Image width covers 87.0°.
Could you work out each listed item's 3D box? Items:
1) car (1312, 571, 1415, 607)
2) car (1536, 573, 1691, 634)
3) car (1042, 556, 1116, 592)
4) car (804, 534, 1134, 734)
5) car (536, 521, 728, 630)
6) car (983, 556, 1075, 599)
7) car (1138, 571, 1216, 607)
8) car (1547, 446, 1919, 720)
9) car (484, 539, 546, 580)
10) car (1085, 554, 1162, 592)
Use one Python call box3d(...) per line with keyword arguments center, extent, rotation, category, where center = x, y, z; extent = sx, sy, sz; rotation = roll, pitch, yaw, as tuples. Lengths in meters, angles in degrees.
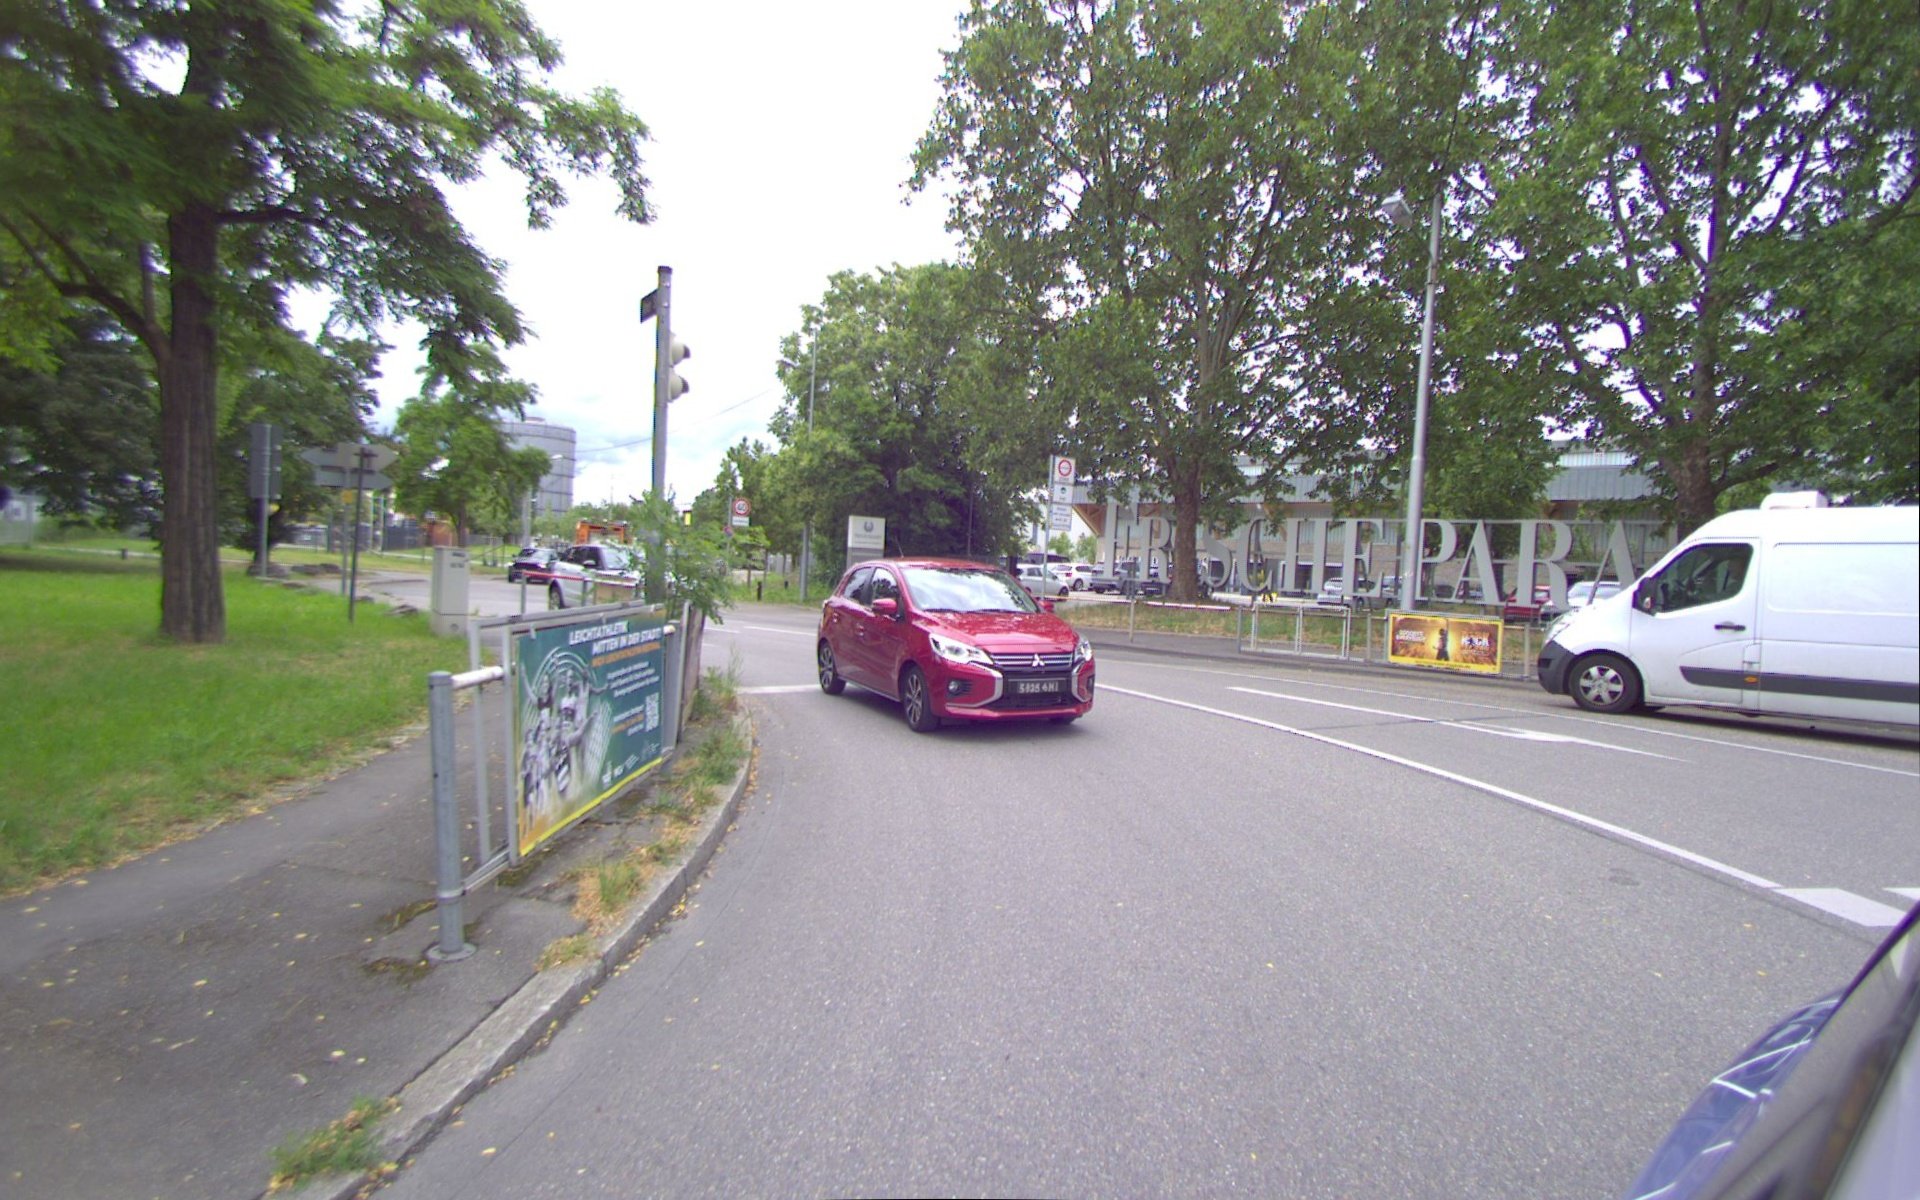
box3d(center=(17.178, -0.480, 42.919), extent=(5.160, 1.449, 1.935), rotation=(-1, 1, -41), category="car")
box3d(center=(17.119, 0.060, 26.451), extent=(4.614, 1.476, 1.999), rotation=(-1, 0, -38), category="car")
box3d(center=(6.440, -1.405, 54.451), extent=(1.911, 1.721, 3.937), rotation=(5, 3, 43), category="car")
box3d(center=(-0.129, 0.194, 9.875), extent=(1.731, 1.549, 3.748), rotation=(1, 2, -25), category="car")
box3d(center=(-6.530, -0.524, 19.899), extent=(1.885, 1.588, 4.108), rotation=(7, 1, -44), category="car")
box3d(center=(2.966, -0.939, 42.865), extent=(1.911, 1.595, 3.713), rotation=(5, 3, 43), category="car")
box3d(center=(10.637, -0.520, 49.474), extent=(1.911, 1.526, 3.937), rotation=(5, 3, 43), category="car")
box3d(center=(9.858, -0.171, 10.225), extent=(2.155, 2.573, 6.472), rotation=(0, 0, -41), category="car")
box3d(center=(-24.420, -2.282, 55.729), extent=(1.910, 2.003, 5.886), rotation=(1, 3, -11), category="car")
box3d(center=(8.395, -1.385, 51.795), extent=(1.911, 1.721, 3.937), rotation=(5, 3, 43), category="car")
